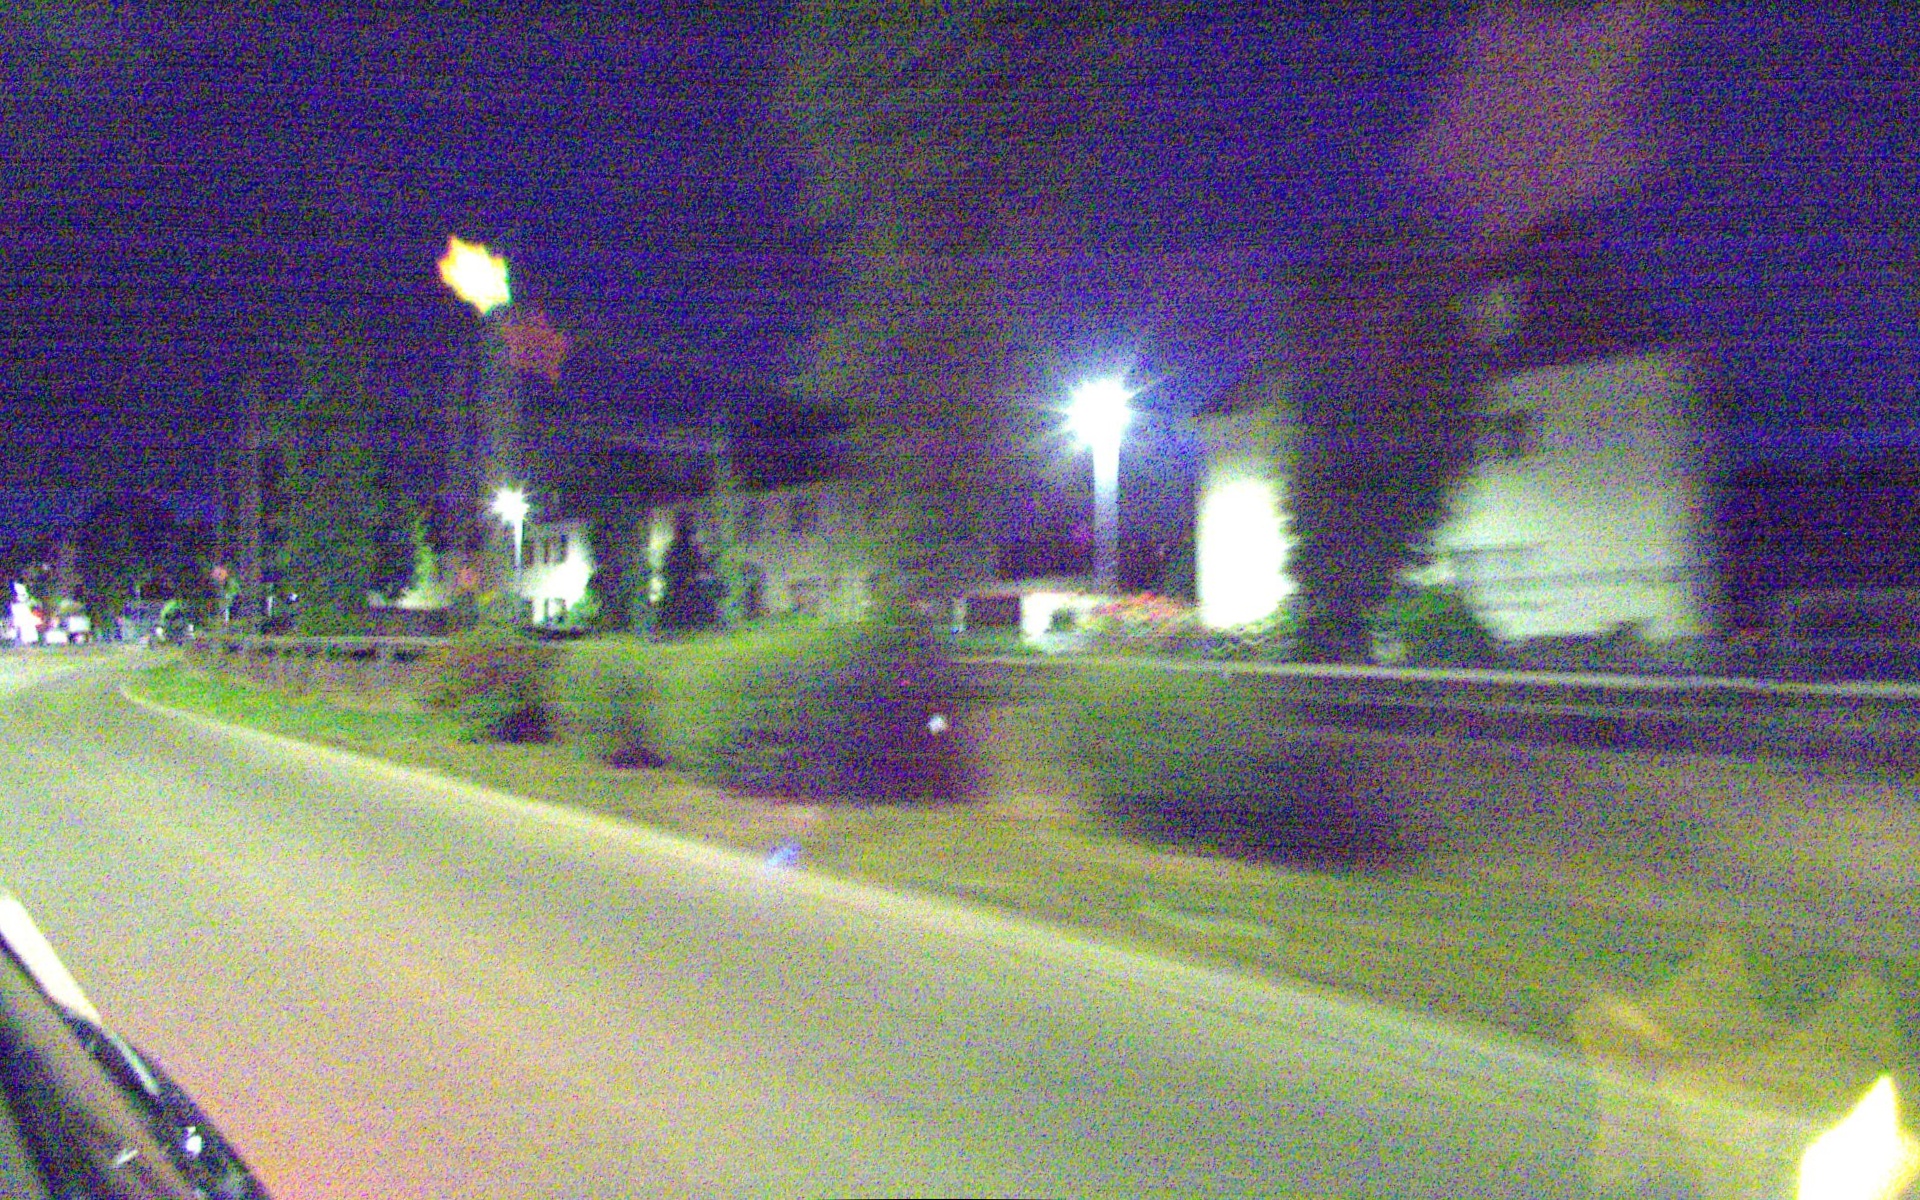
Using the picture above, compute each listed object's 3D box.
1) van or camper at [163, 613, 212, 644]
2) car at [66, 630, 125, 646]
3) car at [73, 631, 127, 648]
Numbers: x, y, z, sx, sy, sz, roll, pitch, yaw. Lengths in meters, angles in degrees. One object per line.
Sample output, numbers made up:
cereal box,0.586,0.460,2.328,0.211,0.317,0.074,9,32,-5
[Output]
van or camper,-71.322,2.658,93.387,5.919,2.768,2.055,-3,-2,37
car,-90.404,3.975,105.908,2.022,1.573,4.280,-2,-2,31
car,-88.497,4.096,104.170,1.999,1.630,3.945,-3,-2,41
